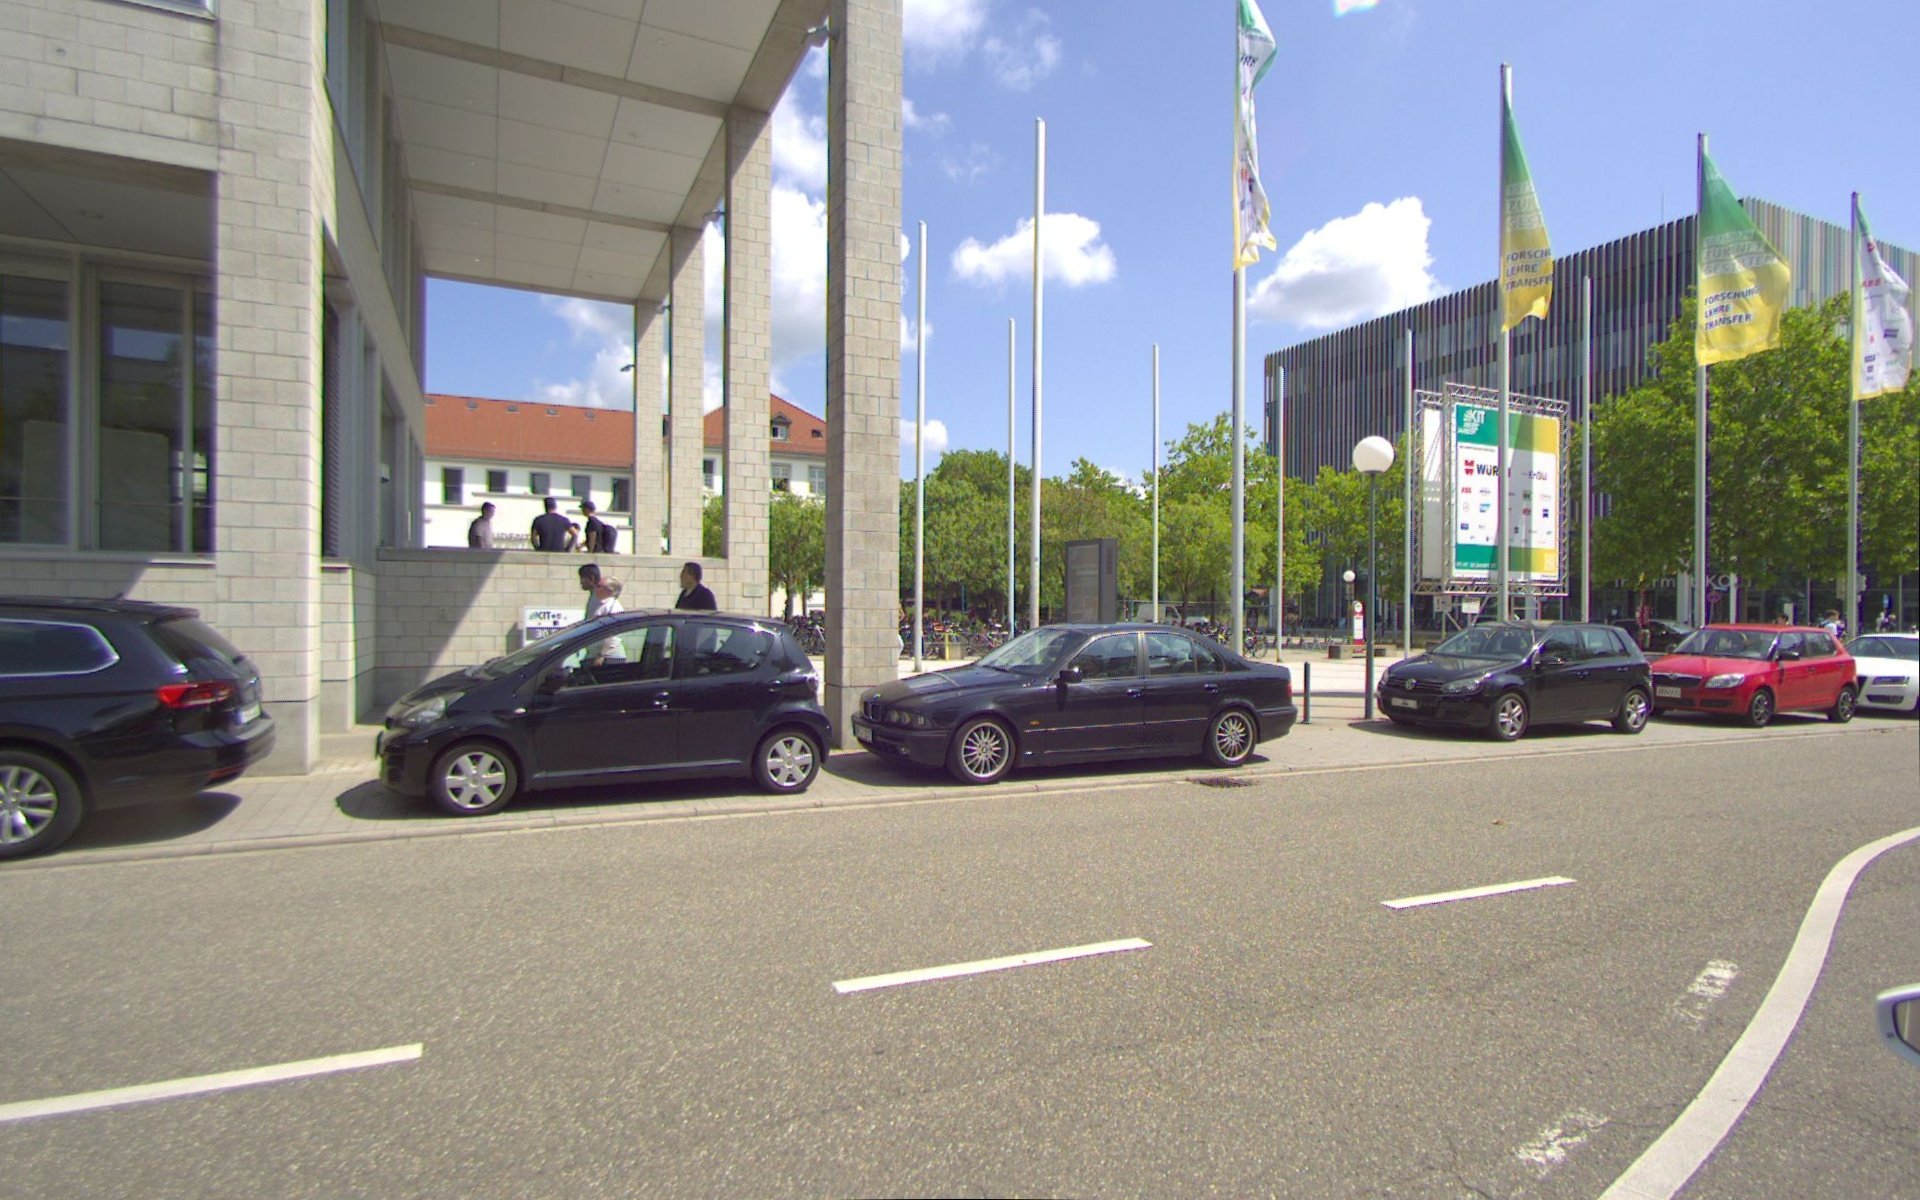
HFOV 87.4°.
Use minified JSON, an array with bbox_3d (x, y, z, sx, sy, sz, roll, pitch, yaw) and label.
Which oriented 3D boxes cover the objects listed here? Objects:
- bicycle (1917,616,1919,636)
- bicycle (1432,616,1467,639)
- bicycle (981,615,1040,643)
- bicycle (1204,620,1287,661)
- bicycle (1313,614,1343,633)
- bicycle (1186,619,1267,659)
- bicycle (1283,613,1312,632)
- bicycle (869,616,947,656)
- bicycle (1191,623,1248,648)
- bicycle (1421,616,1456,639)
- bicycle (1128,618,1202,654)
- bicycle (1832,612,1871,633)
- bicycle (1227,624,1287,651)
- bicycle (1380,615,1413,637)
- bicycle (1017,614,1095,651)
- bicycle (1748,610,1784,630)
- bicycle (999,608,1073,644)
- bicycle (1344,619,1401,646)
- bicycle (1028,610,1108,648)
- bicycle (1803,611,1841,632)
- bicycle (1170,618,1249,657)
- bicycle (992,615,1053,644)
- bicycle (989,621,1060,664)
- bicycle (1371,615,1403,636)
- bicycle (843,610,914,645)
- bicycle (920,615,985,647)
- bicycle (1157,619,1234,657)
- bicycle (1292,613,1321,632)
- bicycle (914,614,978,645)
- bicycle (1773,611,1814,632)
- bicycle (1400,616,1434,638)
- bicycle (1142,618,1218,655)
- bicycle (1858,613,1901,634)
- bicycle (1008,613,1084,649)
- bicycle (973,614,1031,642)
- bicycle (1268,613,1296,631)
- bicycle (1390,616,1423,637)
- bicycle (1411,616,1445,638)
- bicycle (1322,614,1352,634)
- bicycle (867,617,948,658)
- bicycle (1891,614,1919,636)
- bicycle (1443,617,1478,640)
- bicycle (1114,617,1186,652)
[{"bbox_3d":[59.078,1.590,60.593,1.179,1.254,2.947,1,0,28],"label":"bicycle"},{"bbox_3d":[41.296,2.341,84.751,2.909,1.863,0.957,1,0,-23],"label":"bicycle"},{"bbox_3d":[2.672,1.502,52.650,2.907,1.430,1.060,1,0,-21],"label":"bicycle"},{"bbox_3d":[10.452,1.462,36.760,2.907,1.438,1.013,1,0,-21],"label":"bicycle"},{"bbox_3d":[35.786,2.301,97.753,2.911,1.863,0.956,1,0,-26],"label":"bicycle"},{"bbox_3d":[10.036,1.453,37.851,2.907,1.435,1.013,1,0,-21],"label":"bicycle"},{"bbox_3d":[34.071,2.286,101.378,2.911,1.863,0.956,1,0,-26],"label":"bicycle"},{"bbox_3d":[-1.961,1.367,38.047,2.894,1.430,1.147,1,0,-4],"label":"bicycle"},{"bbox_3d":[12.463,1.685,48.190,2.920,1.165,0.992,1,0,-34],"label":"bicycle"},{"bbox_3d":[40.885,2.338,85.773,2.909,1.863,0.957,1,0,-23],"label":"bicycle"},{"bbox_3d":[8.556,1.500,41.872,2.907,1.430,1.060,1,0,-21],"label":"bicycle"},{"bbox_3d":[54.994,1.362,62.005,1.179,1.254,2.946,1,0,29],"label":"bicycle"},{"bbox_3d":[13.680,1.712,46.271,2.920,1.163,0.992,1,0,-33],"label":"bicycle"},{"bbox_3d":[39.116,2.325,90.046,2.910,1.863,0.957,1,0,-24],"label":"bicycle"},{"bbox_3d":[3.845,1.302,40.165,2.904,1.430,1.061,1,0,-18],"label":"bicycle"},{"bbox_3d":[51.222,1.268,63.859,1.179,1.254,2.947,1,0,27],"label":"bicycle"},{"bbox_3d":[3.205,1.092,42.317,2.904,1.430,1.061,1,0,-18],"label":"bicycle"},{"bbox_3d":[18.728,1.449,45.646,0.656,1.128,2.599,1,0,-27],"label":"bicycle"},{"bbox_3d":[4.214,1.124,39.073,2.904,1.430,1.061,1,0,-18],"label":"bicycle"},{"bbox_3d":[53.605,1.328,62.515,1.179,1.254,2.946,1,0,29],"label":"bicycle"},{"bbox_3d":[9.648,1.447,38.859,2.907,1.430,1.013,1,0,-21],"label":"bicycle"},{"bbox_3d":[3.208,1.506,51.333,2.907,1.430,1.060,1,0,-21],"label":"bicycle"},{"bbox_3d":[1.922,1.246,29.901,2.066,1.232,0.647,1,0,-26],"label":"bicycle"},{"bbox_3d":[38.670,2.322,91.057,2.911,1.863,0.956,1,0,-25],"label":"bicycle"},{"bbox_3d":[-3.522,1.191,43.258,2.902,1.430,1.062,1,0,-15],"label":"bicycle"},{"bbox_3d":[-0.355,1.426,46.269,2.896,1.430,1.064,1,0,-7],"label":"bicycle"},{"bbox_3d":[9.337,1.492,39.816,2.907,1.430,1.013,1,0,-21],"label":"bicycle"},{"bbox_3d":[34.593,2.291,100.272,2.911,1.863,0.956,1,0,-26],"label":"bicycle"},{"bbox_3d":[-0.653,1.428,48.086,2.913,1.430,1.058,1,0,-27],"label":"bicycle"},{"bbox_3d":[52.413,1.317,63.196,1.352,1.254,2.947,1,0,28],"label":"bicycle"},{"bbox_3d":[40.008,2.332,87.876,2.909,1.863,0.957,1,0,-23],"label":"bicycle"},{"bbox_3d":[8.951,1.483,40.859,2.907,1.430,1.060,1,0,-21],"label":"bicycle"},{"bbox_3d":[56.148,1.435,61.376,1.179,1.254,2.947,1,0,28],"label":"bicycle"},{"bbox_3d":[3.520,1.260,41.247,2.904,1.430,1.061,1,0,-18],"label":"bicycle"},{"bbox_3d":[2.257,1.500,53.848,2.907,1.430,1.060,1,0,-21],"label":"bicycle"},{"bbox_3d":[33.151,2.262,103.350,2.911,1.863,0.956,1,0,-26],"label":"bicycle"},{"bbox_3d":[39.580,2.329,88.977,2.910,1.863,0.957,1,0,-24],"label":"bicycle"},{"bbox_3d":[40.476,2.335,86.846,2.909,1.863,0.957,1,0,-23],"label":"bicycle"},{"bbox_3d":[36.252,2.304,96.682,2.911,1.863,0.956,1,0,-26],"label":"bicycle"},{"bbox_3d":[-1.910,1.363,36.807,2.894,1.430,1.147,1,0,-4],"label":"bicycle"},{"bbox_3d":[57.984,1.519,61.121,1.179,1.254,2.947,1,0,28],"label":"bicycle"},{"bbox_3d":[41.711,2.344,83.750,2.909,1.863,0.957,1,0,-23],"label":"bicycle"},{"bbox_3d":[8.137,1.472,42.987,2.907,1.430,1.060,1,0,-21],"label":"bicycle"}]
